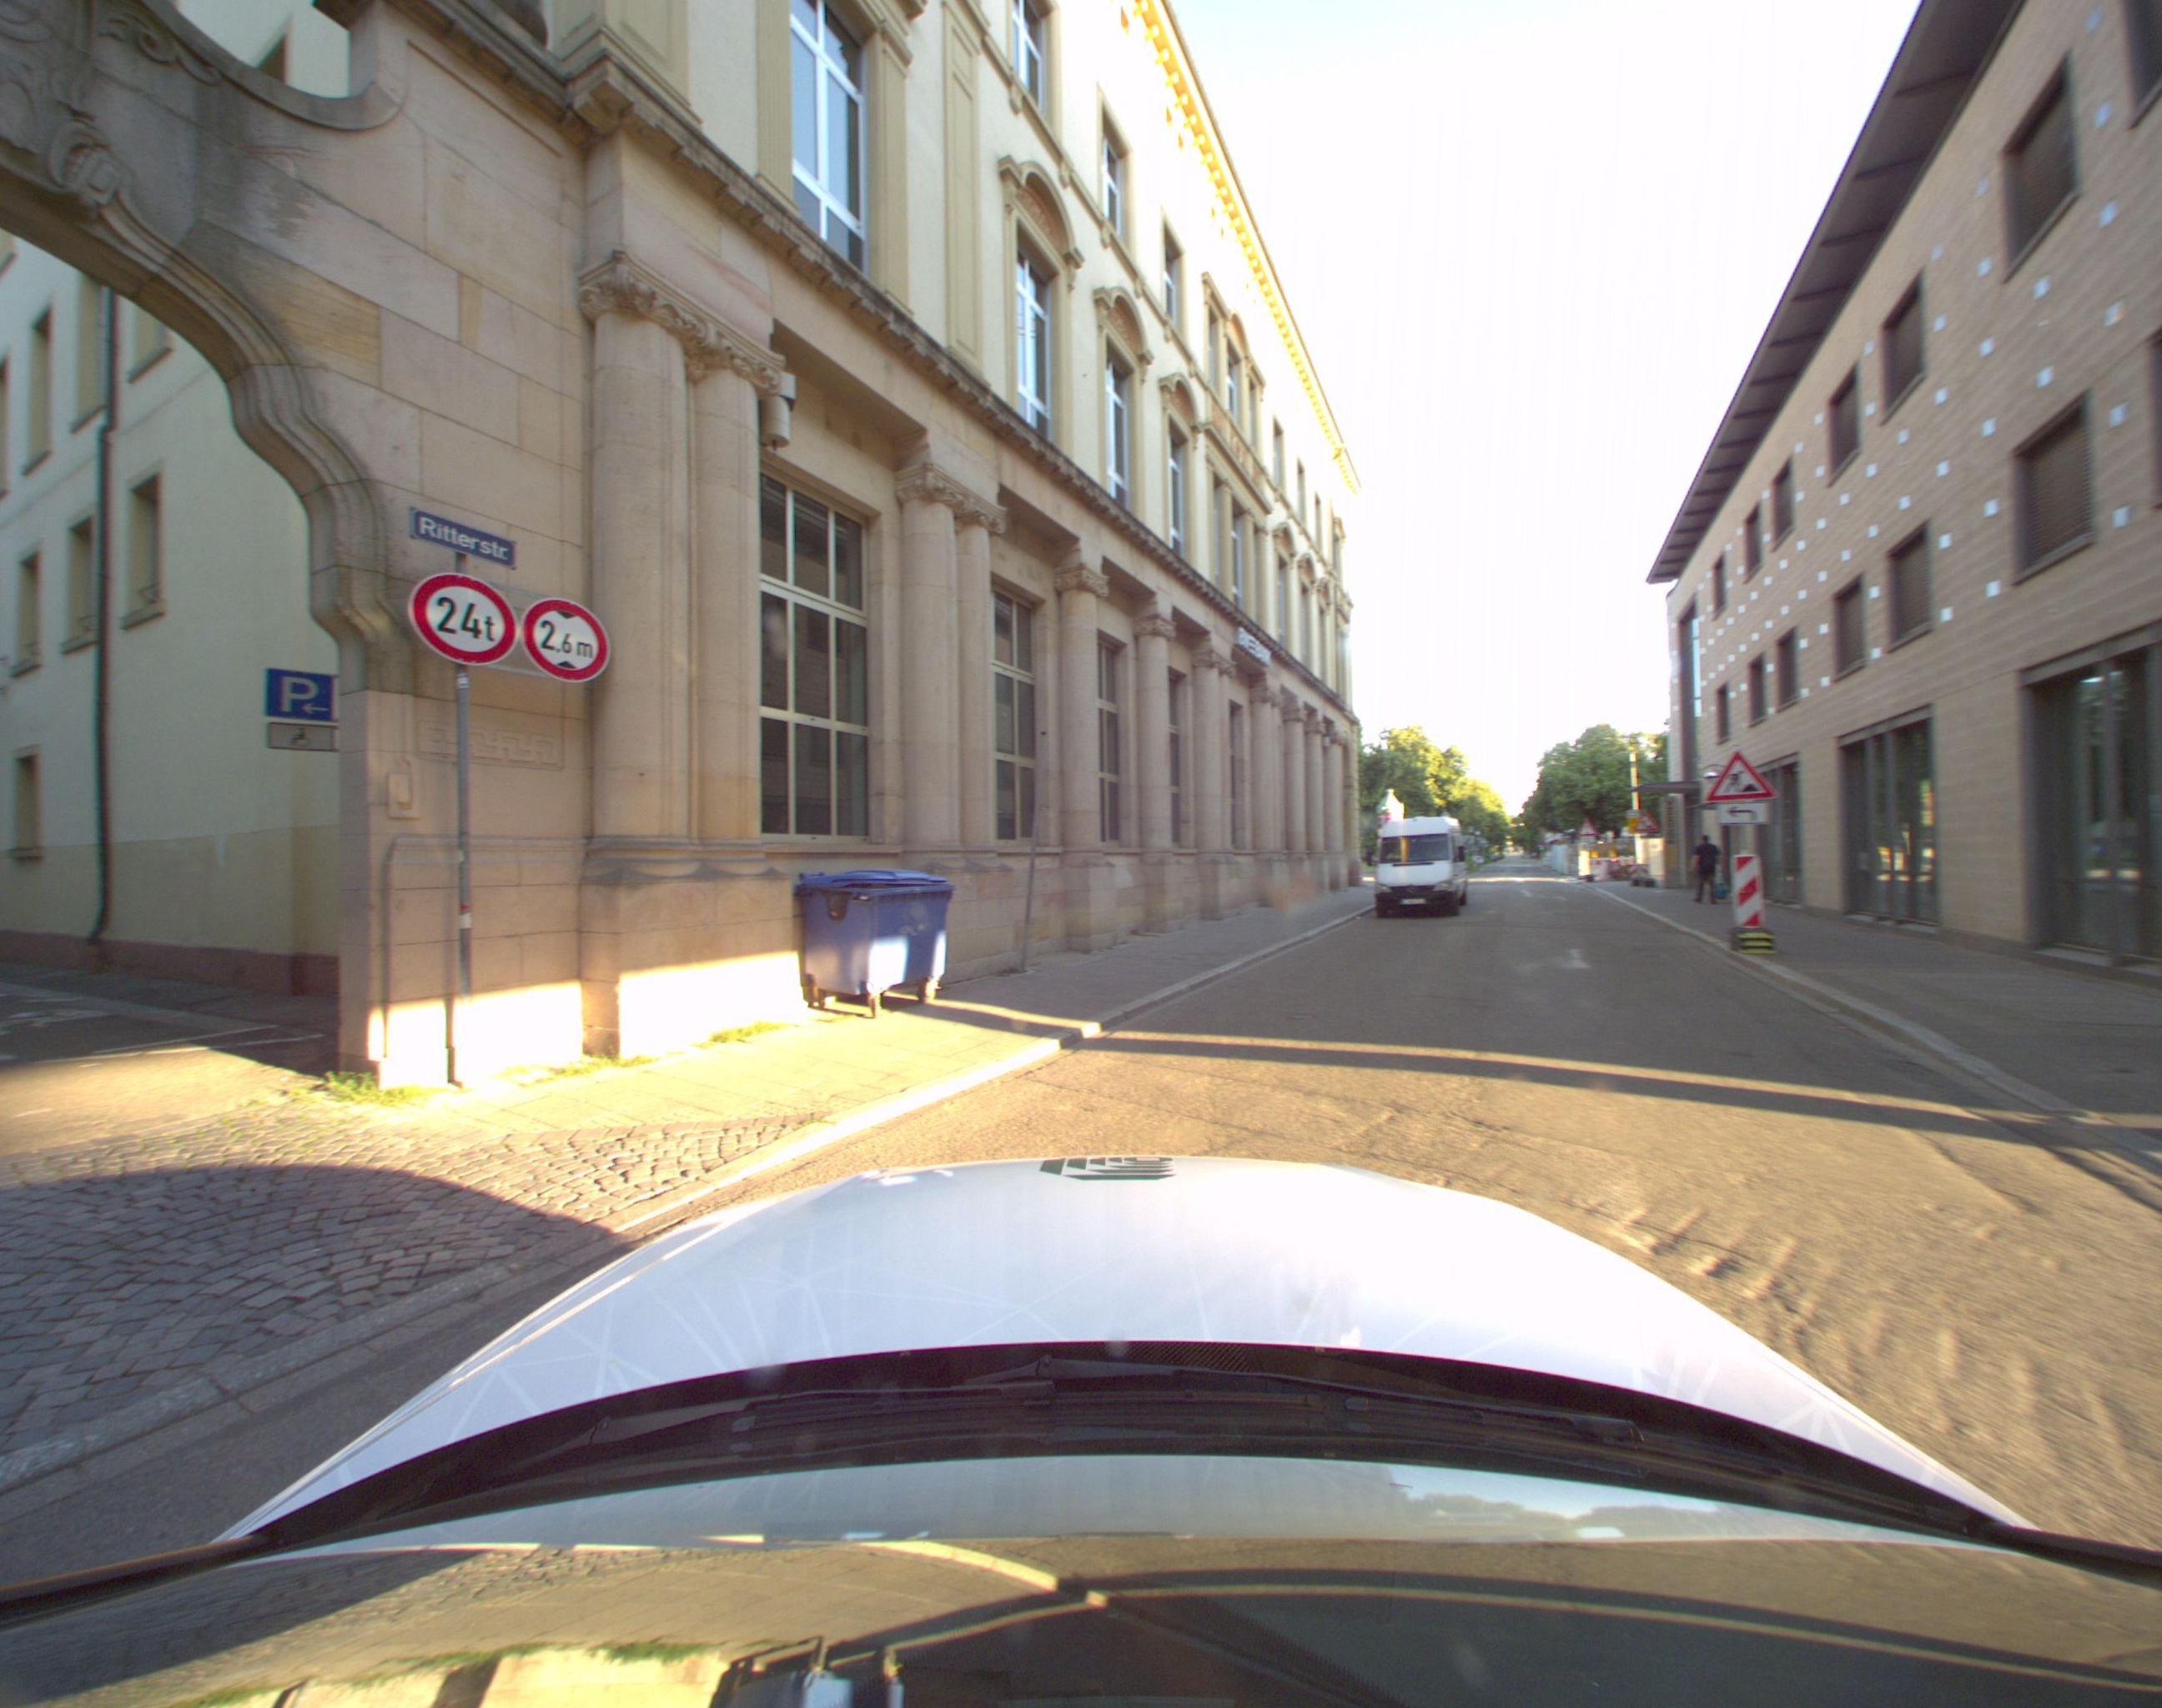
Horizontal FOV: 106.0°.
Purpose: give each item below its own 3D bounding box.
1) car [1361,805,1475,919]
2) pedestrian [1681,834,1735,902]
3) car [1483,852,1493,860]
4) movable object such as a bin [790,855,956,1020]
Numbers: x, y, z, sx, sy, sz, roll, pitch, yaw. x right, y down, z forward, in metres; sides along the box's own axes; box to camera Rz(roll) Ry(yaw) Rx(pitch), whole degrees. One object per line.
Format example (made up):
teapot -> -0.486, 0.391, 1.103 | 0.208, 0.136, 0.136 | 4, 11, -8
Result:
car -> 9.193, 0.200, 21.826 | 1.977, 2.512, 6.509 | -5, -2, 28
pedestrian -> 16.302, 0.365, 21.202 | 0.914, 1.702, 0.874 | -2, -1, 27
car -> 71.773, 0.326, 143.618 | 1.454, 1.404, 3.701 | -1, 0, 28
movable object such as a bin -> -2.055, 0.757, 8.127 | 1.063, 1.474, 1.194 | 0, 0, 32
